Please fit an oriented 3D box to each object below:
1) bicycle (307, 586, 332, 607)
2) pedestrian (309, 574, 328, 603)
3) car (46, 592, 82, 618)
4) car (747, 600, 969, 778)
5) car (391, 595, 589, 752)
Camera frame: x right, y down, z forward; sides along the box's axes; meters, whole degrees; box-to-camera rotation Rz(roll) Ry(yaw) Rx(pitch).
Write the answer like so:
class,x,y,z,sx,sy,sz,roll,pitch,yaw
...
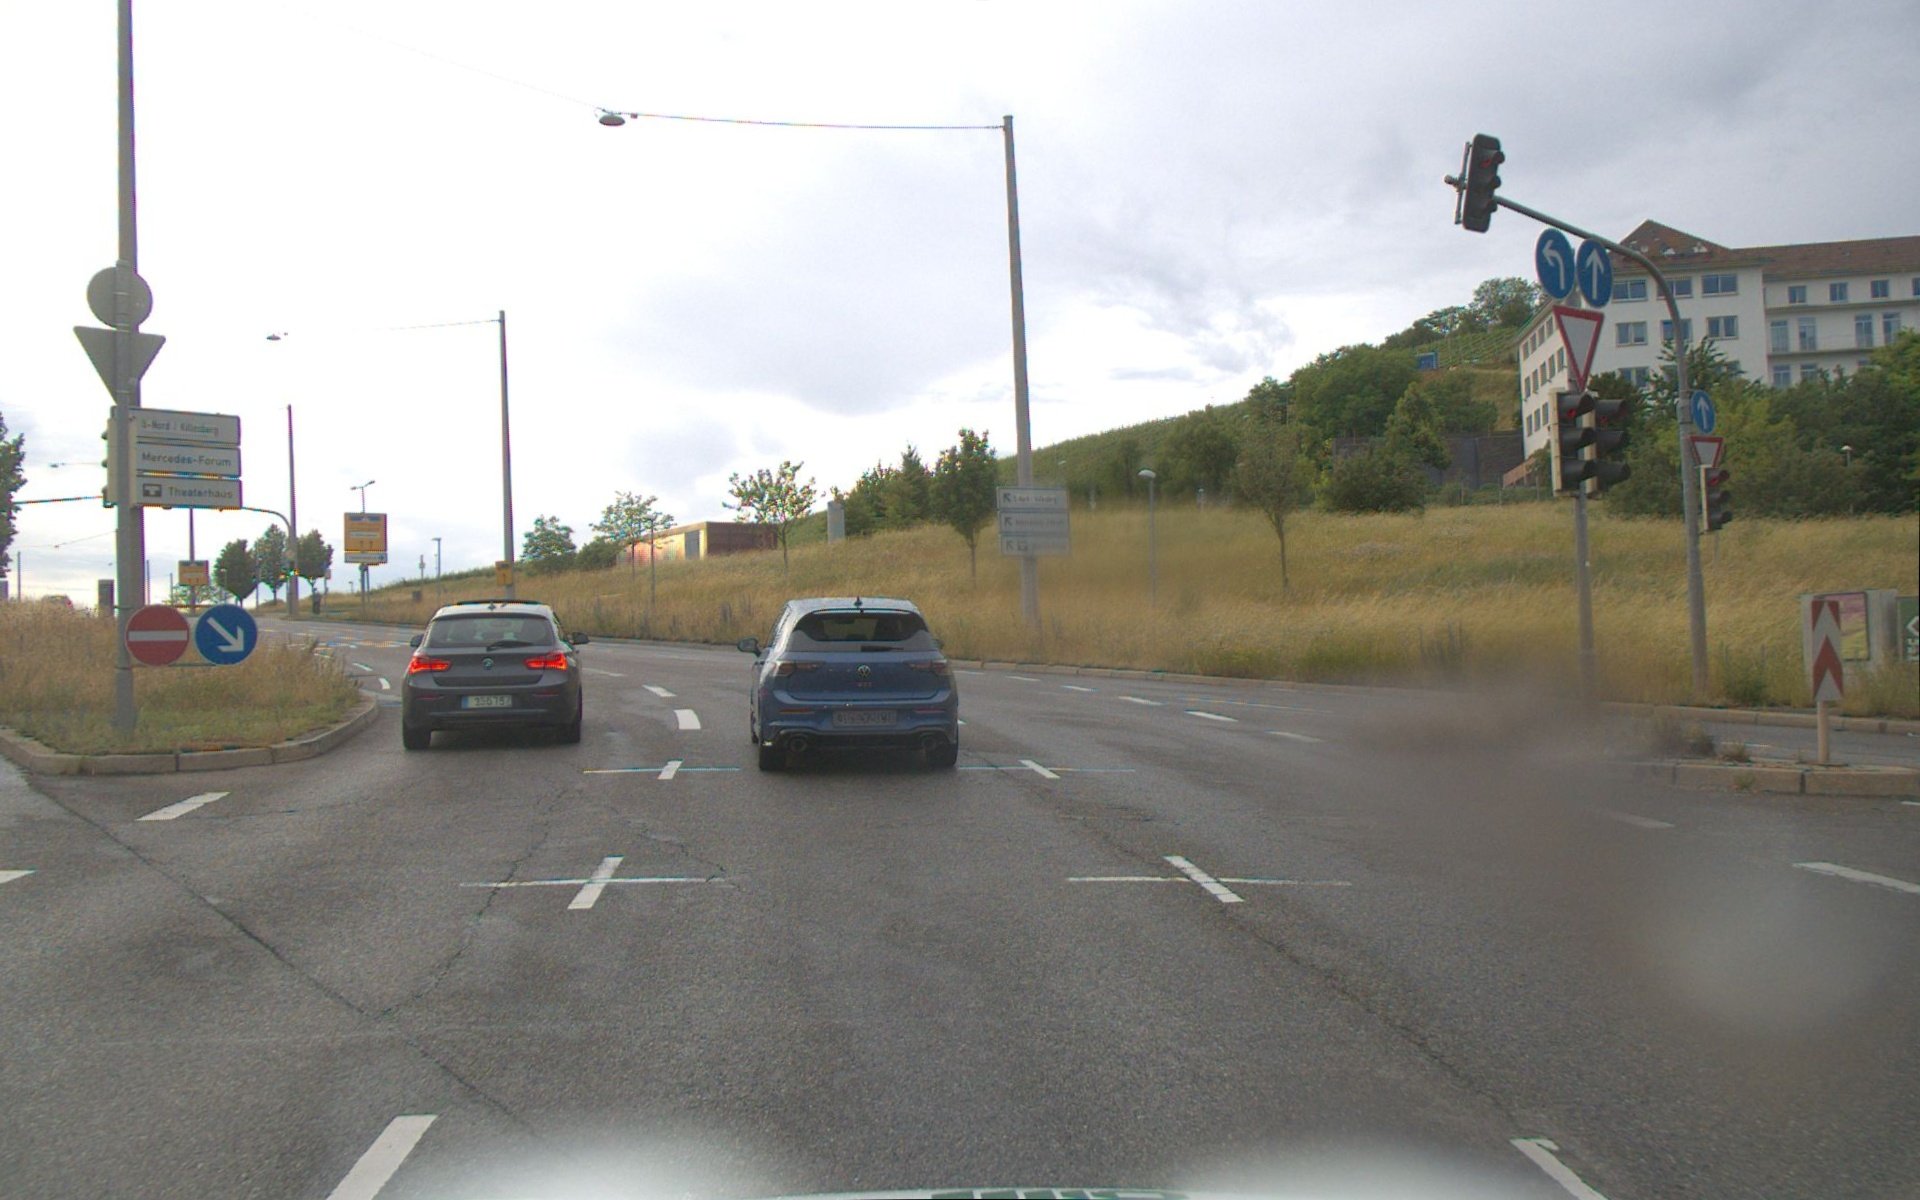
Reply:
class,x,y,z,sx,sy,sz,roll,pitch,yaw
bicycle,-37.250,-0.221,96.141,0.630,1.123,1.725,-10,7,-43
pedestrian,-37.292,-0.663,96.131,0.630,1.597,0.882,-8,5,-42
car,-57.156,0.333,105.462,1.706,1.568,3.662,2,-2,-33
car,-1.034,0.723,15.478,1.802,1.418,3.995,-1,0,-6
car,-4.975,0.710,17.953,1.837,1.487,3.963,0,0,-13
